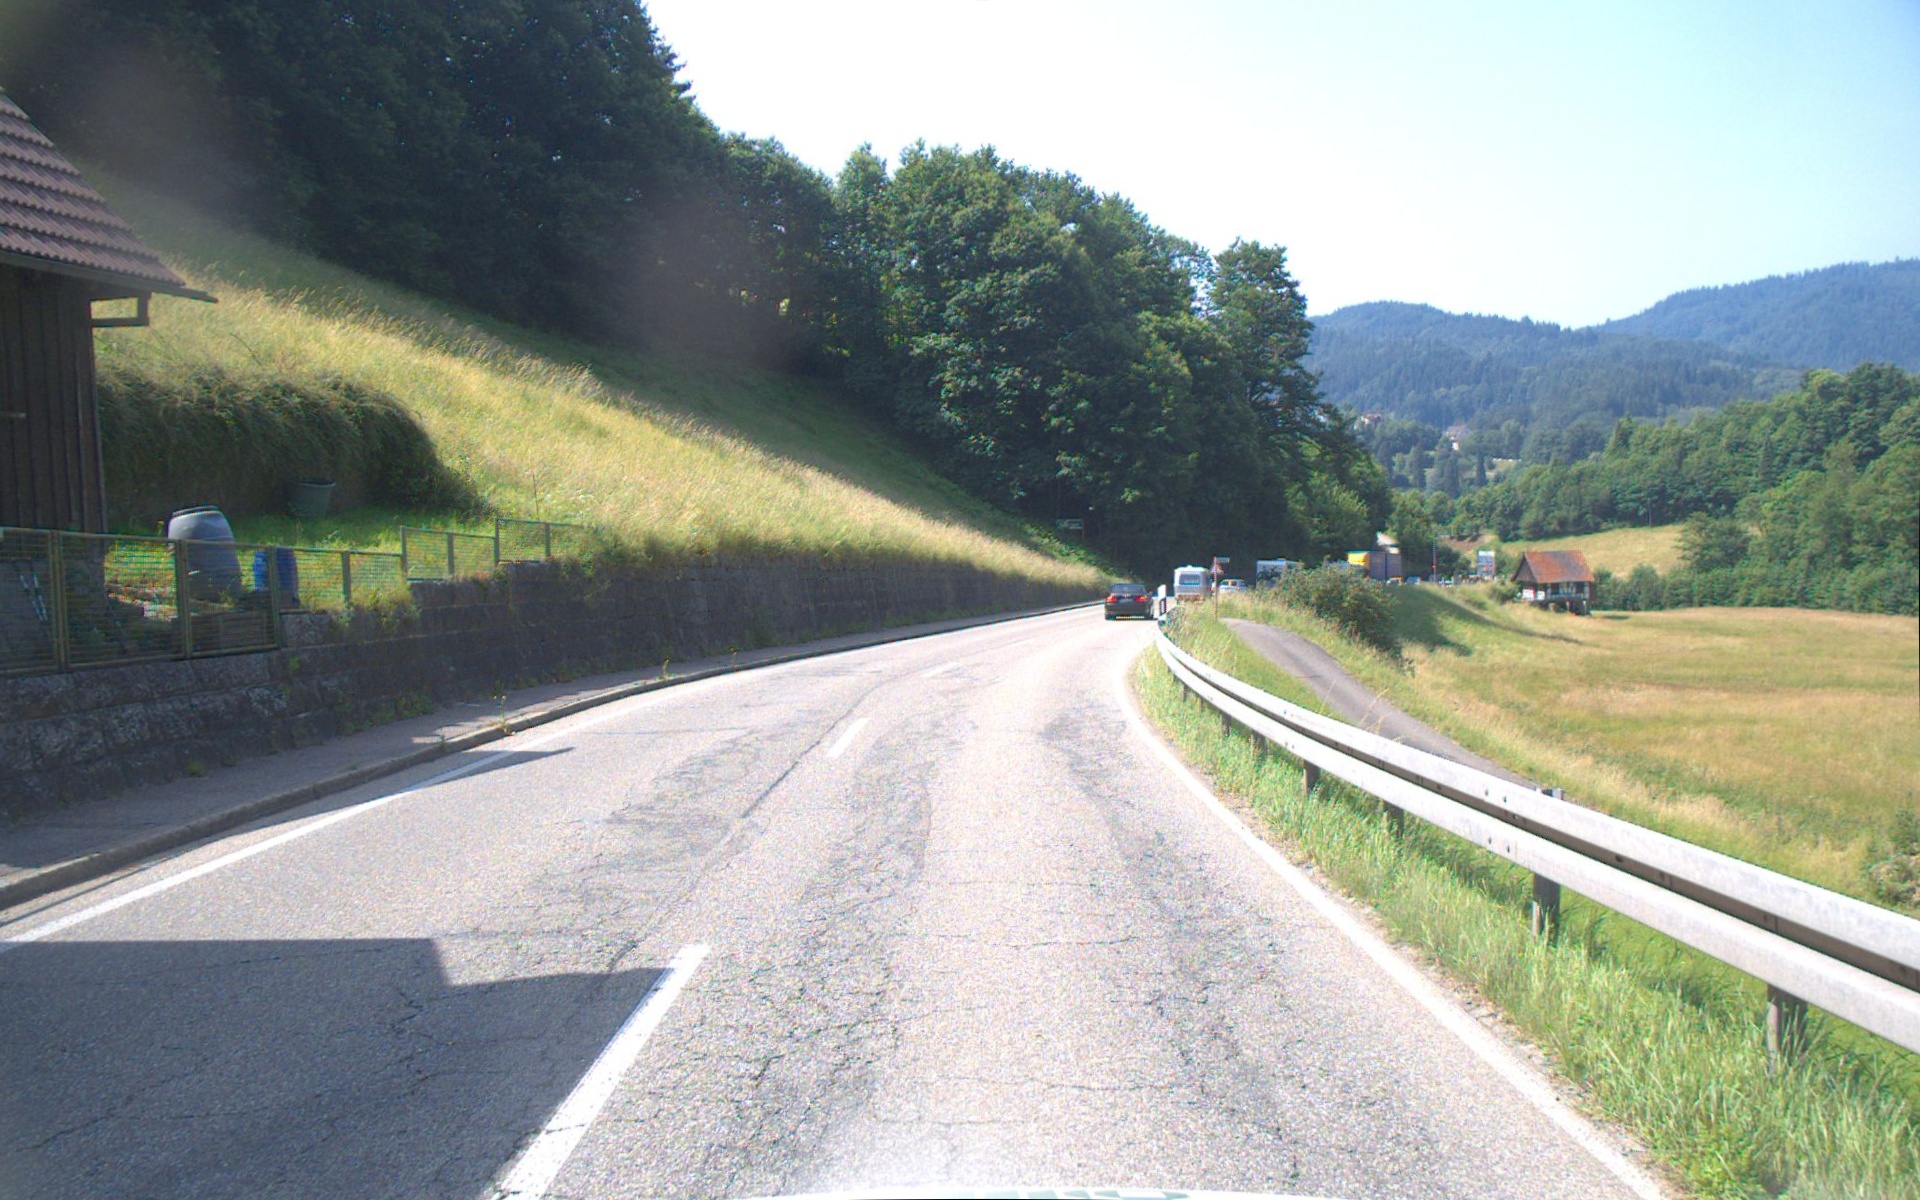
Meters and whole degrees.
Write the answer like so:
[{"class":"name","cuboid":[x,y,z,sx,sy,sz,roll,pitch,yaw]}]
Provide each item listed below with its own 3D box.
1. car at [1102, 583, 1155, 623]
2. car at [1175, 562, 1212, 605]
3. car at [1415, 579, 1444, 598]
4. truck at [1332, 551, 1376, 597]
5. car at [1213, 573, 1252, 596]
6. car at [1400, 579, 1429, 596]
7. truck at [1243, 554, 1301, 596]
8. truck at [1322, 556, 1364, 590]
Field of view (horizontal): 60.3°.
[{"class":"car","cuboid":[6.504,0.073,63.568,1.733,1.358,3.771,1,2,10]},{"class":"car","cuboid":[14.192,-1.030,100.384,1.951,2.393,4.919,1,2,11]},{"class":"car","cuboid":[50.211,-1.228,176.933,1.957,1.959,3.991,3,2,31]},{"class":"truck","cuboid":[40.336,-2.703,169.314,3.125,4.472,6.568,2,2,24]},{"class":"car","cuboid":[19.109,-1.116,115.893,1.952,1.510,4.001,3,2,20]},{"class":"car","cuboid":[46.352,-1.286,168.682,1.871,1.511,3.994,4,3,29]},{"class":"truck","cuboid":[24.217,-1.981,128.129,2.736,3.049,6.864,3,3,24]},{"class":"truck","cuboid":[34.381,-2.408,148.424,2.194,2.853,6.225,2,0,26]}]
